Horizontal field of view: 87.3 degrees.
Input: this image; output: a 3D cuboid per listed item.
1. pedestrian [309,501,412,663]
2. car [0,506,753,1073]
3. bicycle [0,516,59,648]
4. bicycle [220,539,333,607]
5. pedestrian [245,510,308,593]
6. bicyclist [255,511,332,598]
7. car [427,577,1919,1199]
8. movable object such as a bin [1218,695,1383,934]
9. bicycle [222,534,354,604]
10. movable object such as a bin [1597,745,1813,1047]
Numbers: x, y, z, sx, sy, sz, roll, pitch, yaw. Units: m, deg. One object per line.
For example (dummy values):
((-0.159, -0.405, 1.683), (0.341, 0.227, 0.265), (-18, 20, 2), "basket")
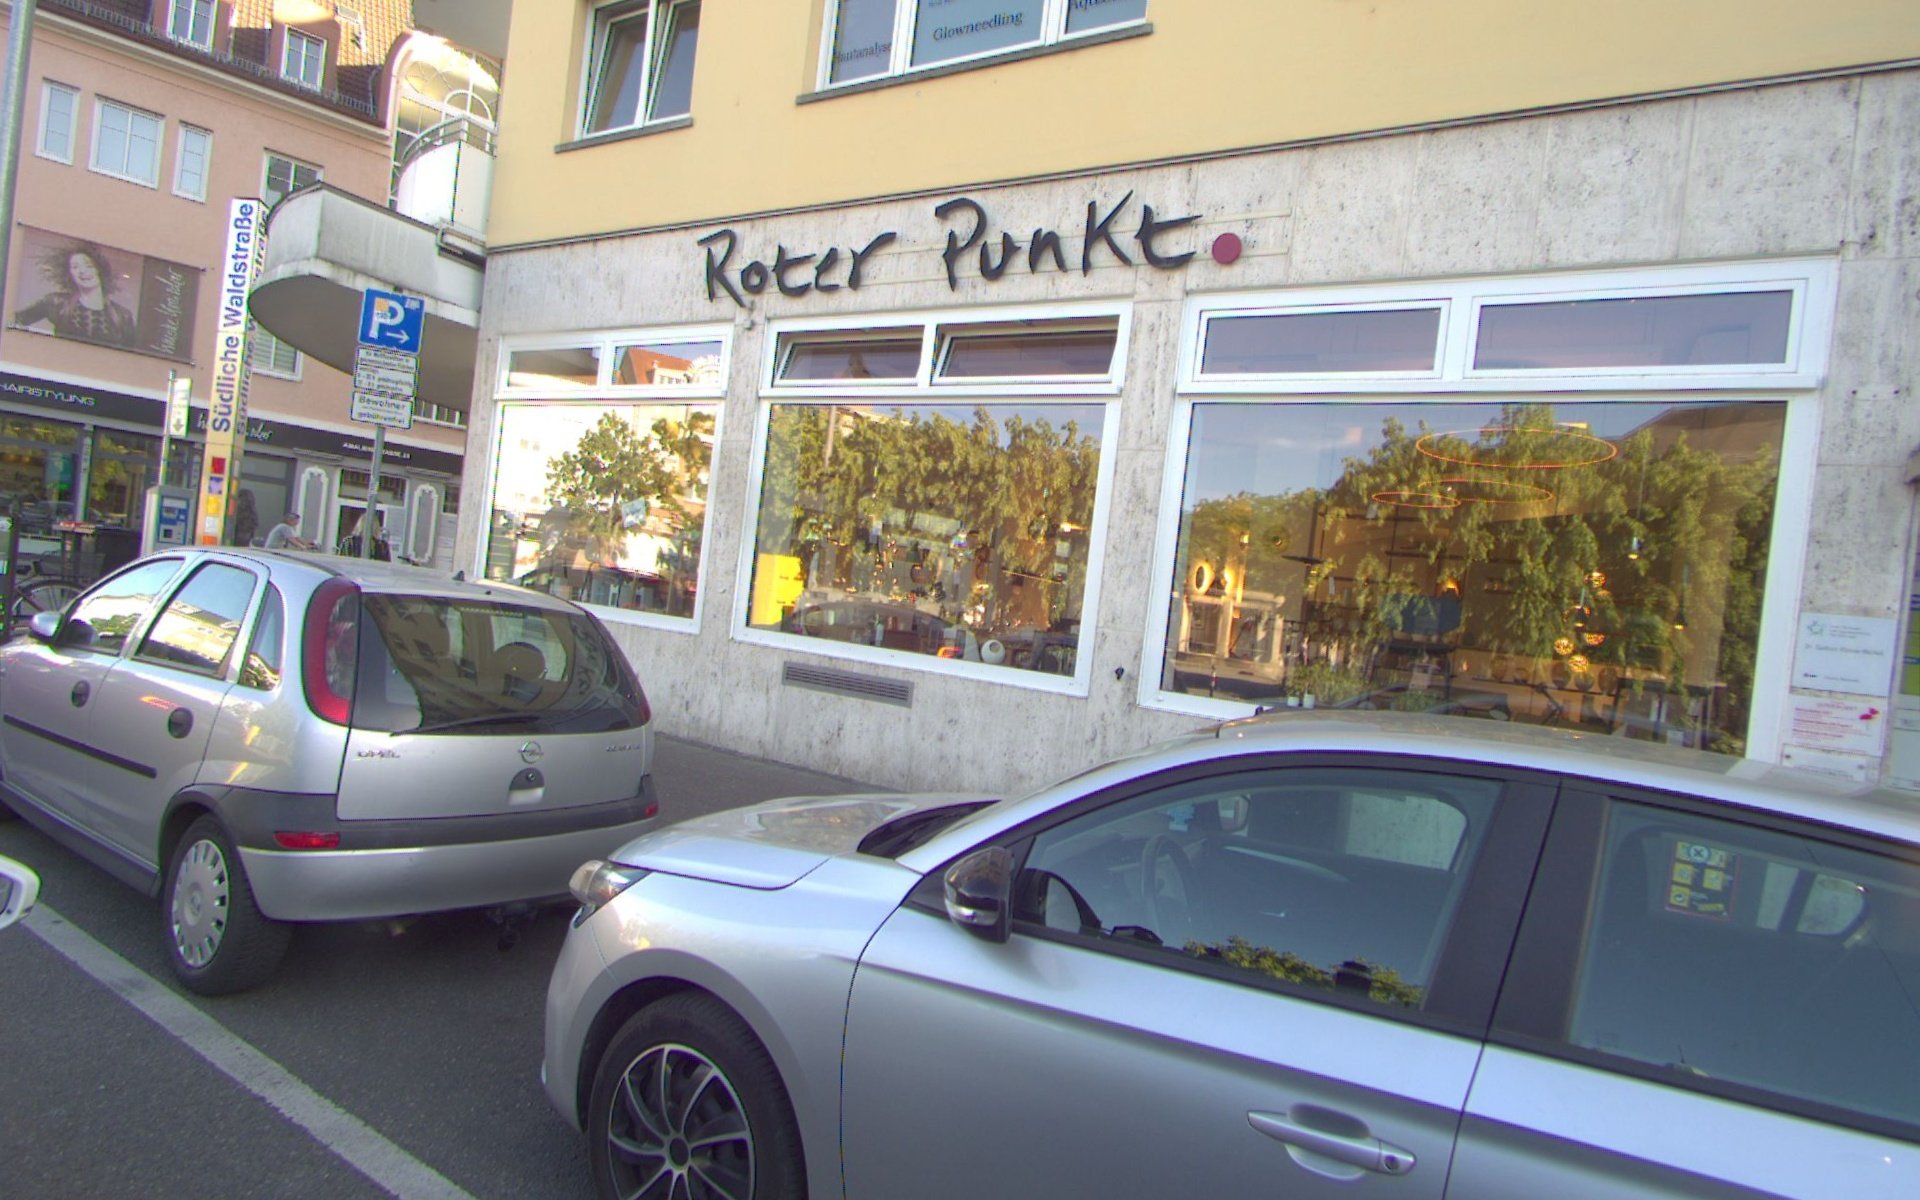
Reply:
((-6.418, -0.186, 10.773), (0.618, 1.654, 0.661), (6, 2, 36), "pedestrian")
((-2.951, 0.470, 4.446), (3.822, 1.411, 1.624), (7, -1, 33), "car")
((-9.069, -0.199, 8.828), (0.425, 1.175, 1.629), (7, 1, 30), "bicycle")
((-13.000, -0.501, 19.174), (0.583, 1.057, 1.612), (6, -2, 44), "bicycle")
((-12.991, -0.920, 19.124), (0.575, 1.457, 0.742), (6, -1, 44), "pedestrian")
((-13.562, -0.916, 20.473), (1.094, 1.608, 0.621), (7, 0, -42), "bicyclist")
((0.942, 0.935, 2.201), (4.006, 1.444, 1.674), (7, -1, 28), "car")
((1.863, 1.117, 5.477), (0.609, 1.082, 0.703), (7, 3, 31), "movable object such as a bin")
((-13.631, -0.617, 20.463), (2.116, 1.215, 0.621), (5, 2, -43), "bicycle")
((3.329, 1.276, 4.564), (0.609, 1.082, 0.703), (7, 3, 31), "movable object such as a bin")
